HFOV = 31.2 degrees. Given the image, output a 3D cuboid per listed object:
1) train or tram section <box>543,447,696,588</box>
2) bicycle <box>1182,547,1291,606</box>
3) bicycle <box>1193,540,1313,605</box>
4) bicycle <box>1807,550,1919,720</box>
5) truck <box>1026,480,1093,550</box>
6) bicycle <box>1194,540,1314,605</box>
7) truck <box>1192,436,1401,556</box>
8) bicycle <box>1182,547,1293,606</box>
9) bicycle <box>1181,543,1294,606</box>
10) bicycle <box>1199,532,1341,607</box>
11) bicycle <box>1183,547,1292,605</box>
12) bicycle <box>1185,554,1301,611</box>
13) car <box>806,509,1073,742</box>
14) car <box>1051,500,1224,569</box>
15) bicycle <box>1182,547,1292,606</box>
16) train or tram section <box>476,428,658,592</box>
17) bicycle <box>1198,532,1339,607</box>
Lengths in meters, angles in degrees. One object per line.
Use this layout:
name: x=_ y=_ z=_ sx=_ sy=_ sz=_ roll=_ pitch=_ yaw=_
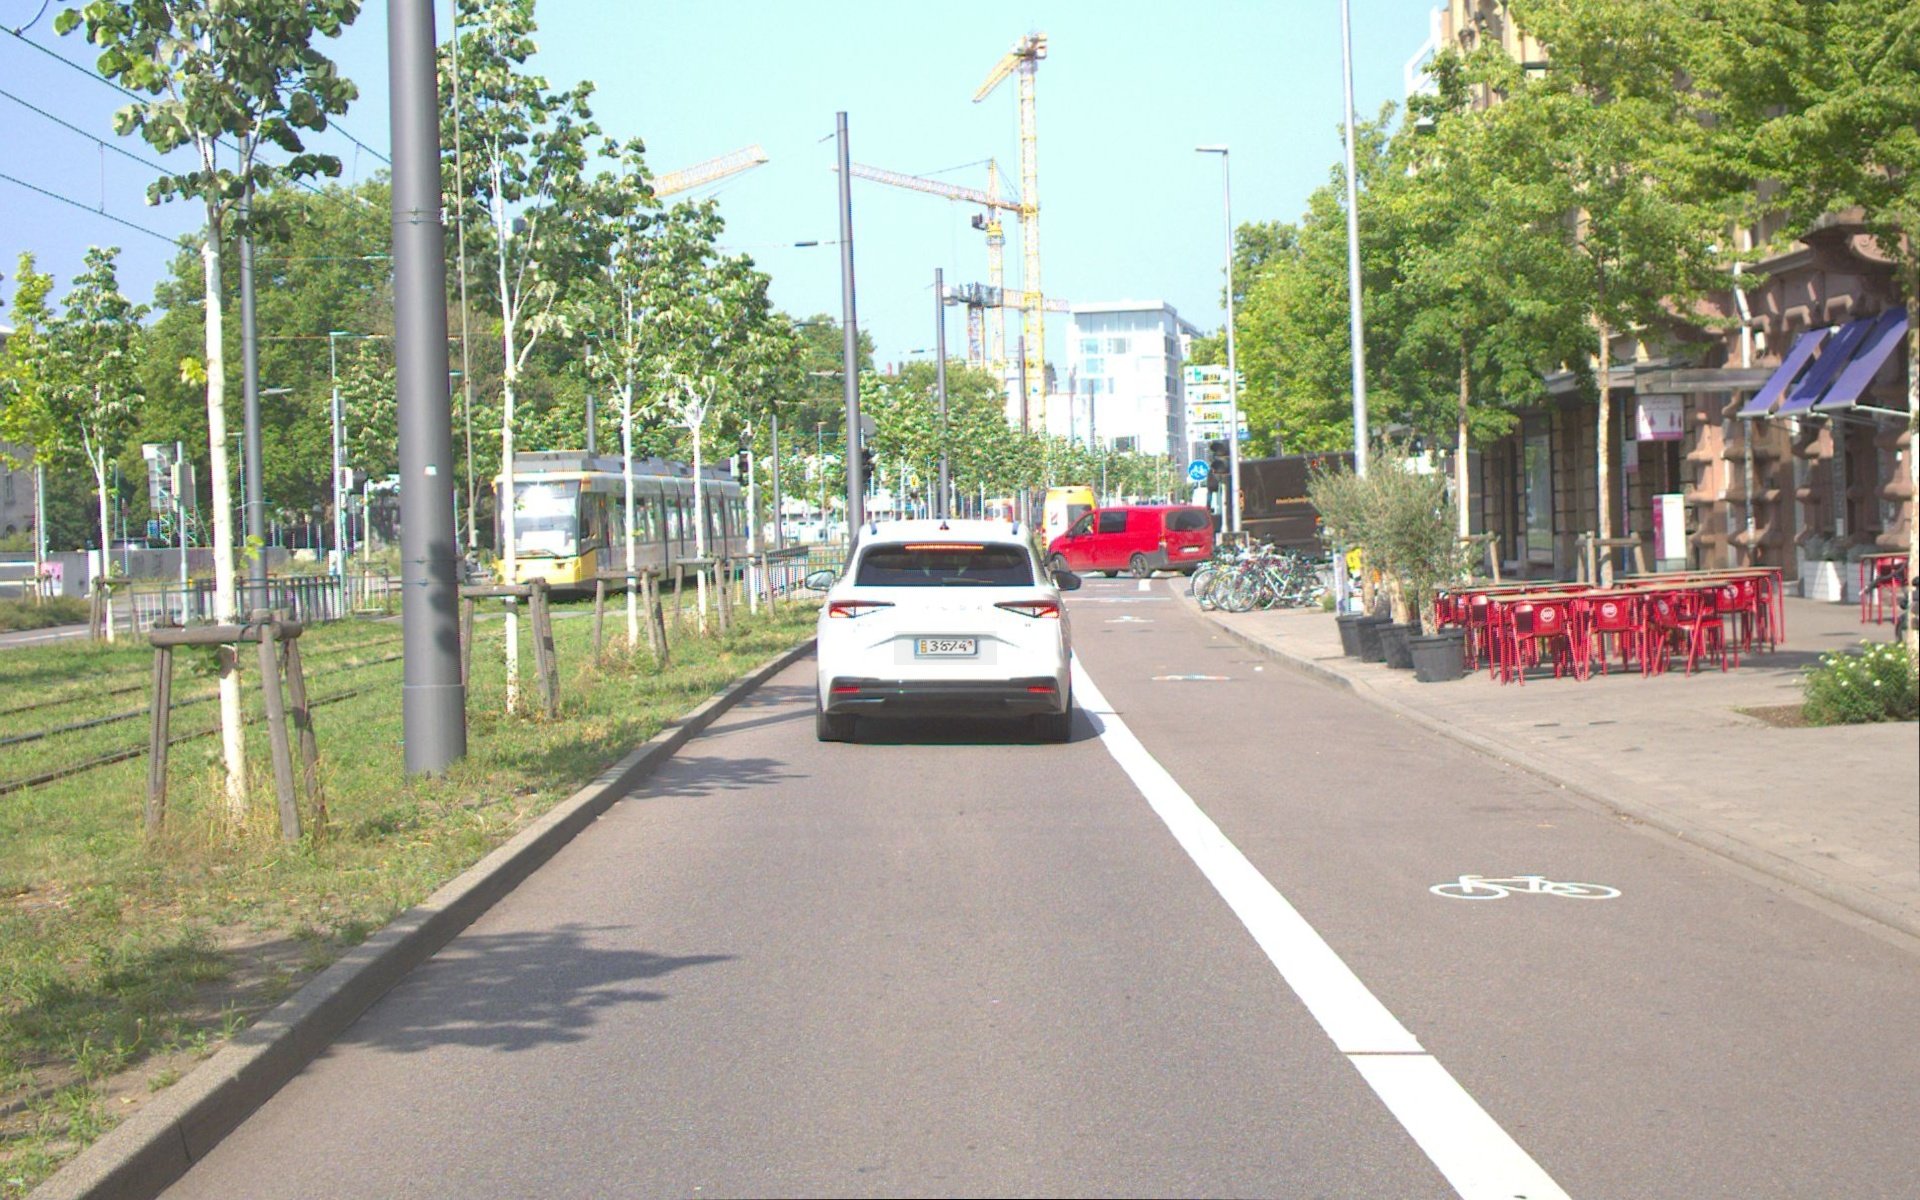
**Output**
train or tram section: x=-9.342 y=-2.210 z=95.811 sx=2.898 sy=3.574 sz=12.934 roll=-2 pitch=1 yaw=0
bicycle: x=5.039 y=-0.430 z=62.656 sx=1.935 sy=0.942 sz=0.428 roll=-3 pitch=1 yaw=4
bicycle: x=4.979 y=-0.470 z=58.401 sx=1.955 sy=0.983 sz=0.471 roll=-3 pitch=1 yaw=2
bicycle: x=6.546 y=0.221 z=23.946 sx=0.595 sy=1.118 sz=1.927 roll=-1 pitch=1 yaw=-7
truck: x=3.443 y=-2.934 z=118.748 sx=2.213 sy=2.310 sz=5.890 roll=-1 pitch=1 yaw=2
bicycle: x=4.955 y=-0.466 z=57.921 sx=1.934 sy=0.983 sz=0.471 roll=-3 pitch=1 yaw=2
truck: x=8.820 y=-2.699 z=91.014 sx=2.509 sy=3.001 sz=6.962 roll=-2 pitch=1 yaw=-22
bicycle: x=4.980 y=-0.422 z=61.794 sx=1.935 sy=0.942 sz=0.440 roll=-3 pitch=1 yaw=4
bicycle: x=4.950 y=-0.456 z=61.347 sx=1.935 sy=1.009 sz=0.440 roll=-3 pitch=1 yaw=4
bicycle: x=5.101 y=-0.505 z=56.615 sx=2.239 sy=1.100 sz=0.588 roll=-3 pitch=1 yaw=2
bicycle: x=5.083 y=-0.434 z=63.098 sx=1.935 sy=0.942 sz=0.428 roll=-3 pitch=1 yaw=4
bicycle: x=4.914 y=-0.305 z=59.696 sx=1.934 sy=0.871 sz=0.440 roll=-3 pitch=1 yaw=2
car: x=-0.160 y=0.137 z=25.830 sx=1.817 sy=1.584 sz=4.407 roll=-1 pitch=1 yaw=0
car: x=4.545 y=-1.670 z=88.513 sx=1.994 sy=1.678 sz=4.367 roll=-2 pitch=2 yaw=-40
bicycle: x=5.011 y=-0.427 z=62.273 sx=1.935 sy=0.942 sz=0.440 roll=-3 pitch=1 yaw=4
train or tram section: x=-9.341 y=-2.079 z=83.171 sx=2.898 sy=3.574 sz=12.478 roll=-2 pitch=1 yaw=0
bicycle: x=5.124 y=-0.510 z=57.170 sx=2.239 sy=1.100 sz=0.519 roll=-3 pitch=1 yaw=2
